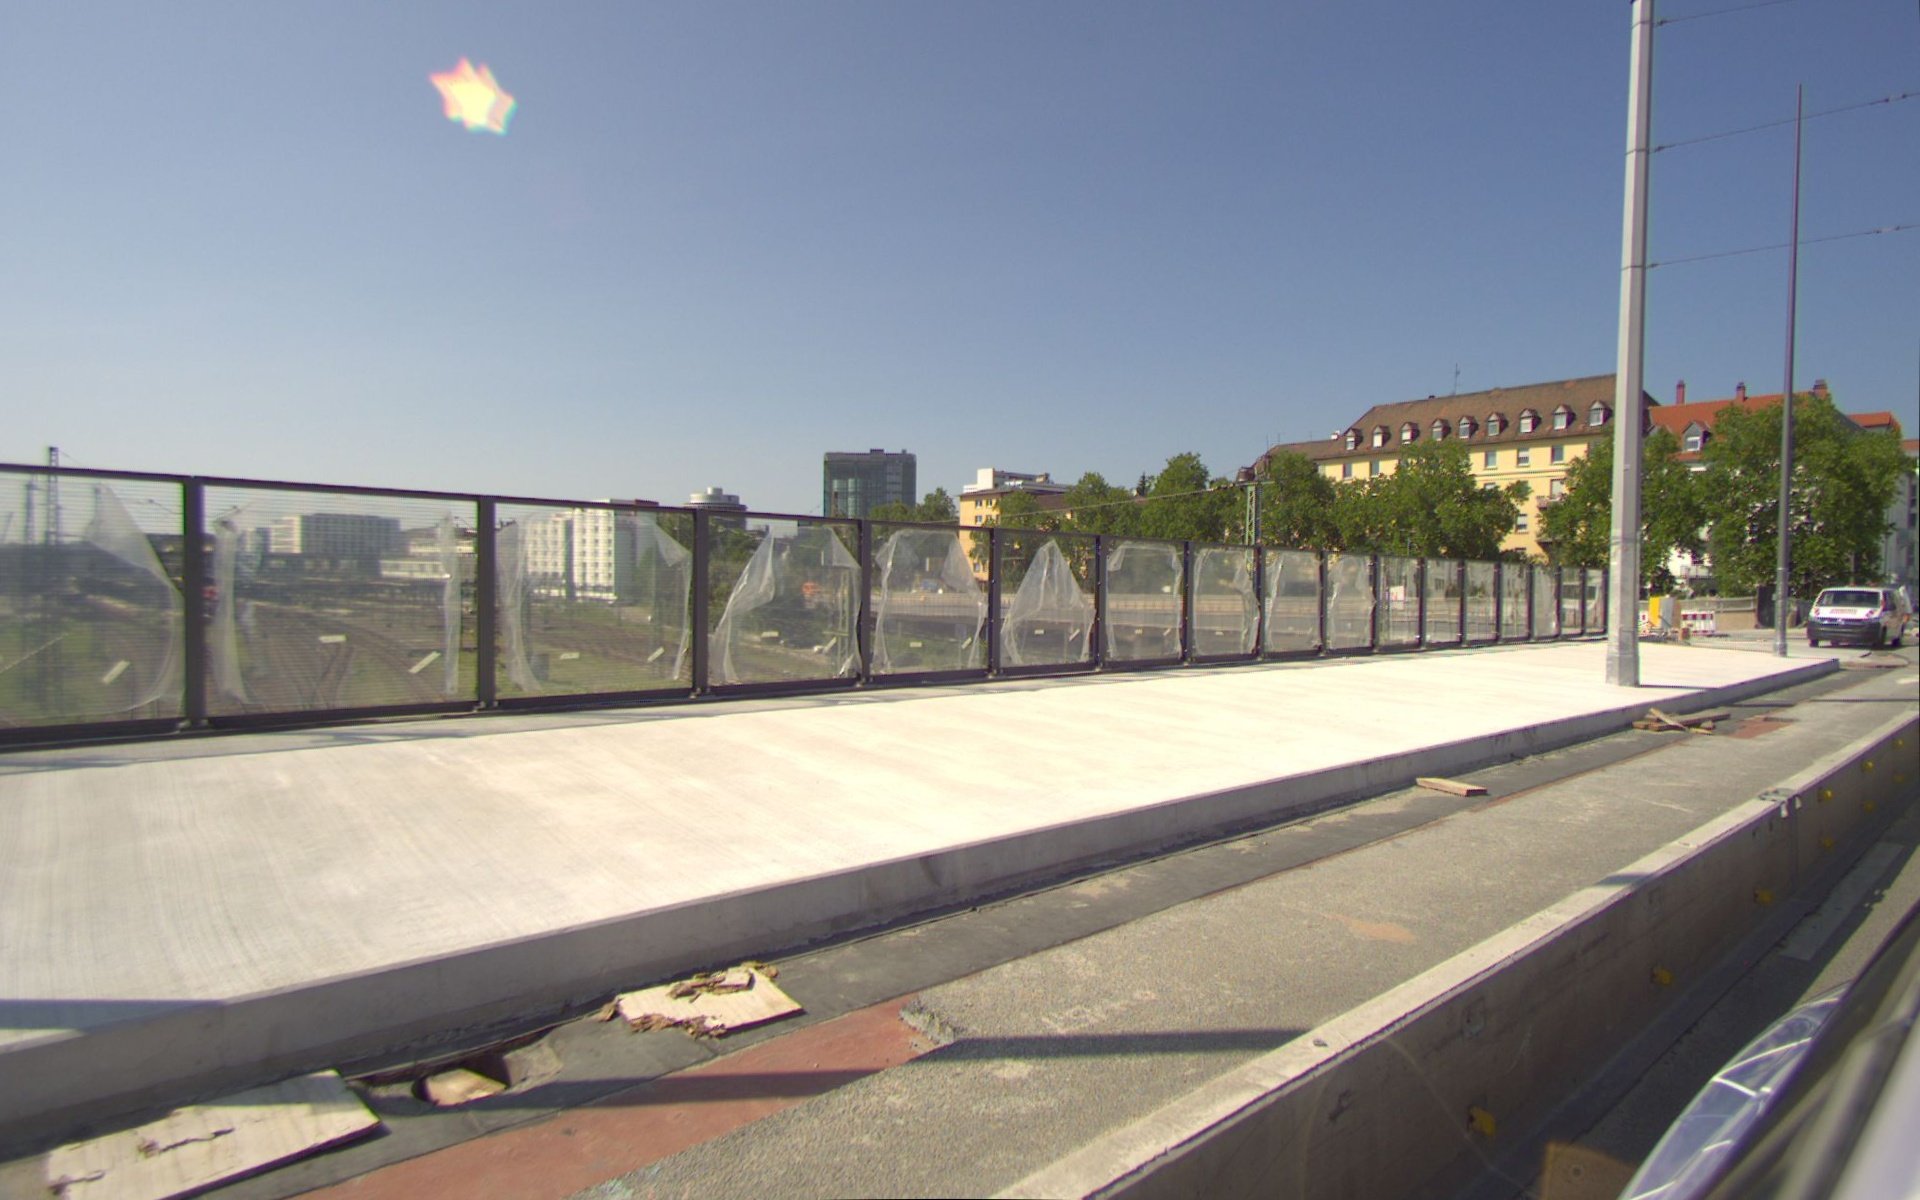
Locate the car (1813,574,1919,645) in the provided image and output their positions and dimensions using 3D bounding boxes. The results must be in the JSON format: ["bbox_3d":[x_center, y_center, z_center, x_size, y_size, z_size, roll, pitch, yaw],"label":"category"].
[{"bbox_3d":[30.055,0.290,33.243,6.352,2.116,1.938,1,1,-39],"label":"car"}]

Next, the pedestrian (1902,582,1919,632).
[{"bbox_3d":[39.521,0.298,41.795,0.828,2.009,0.761,-1,3,-41],"label":"pedestrian"}]
